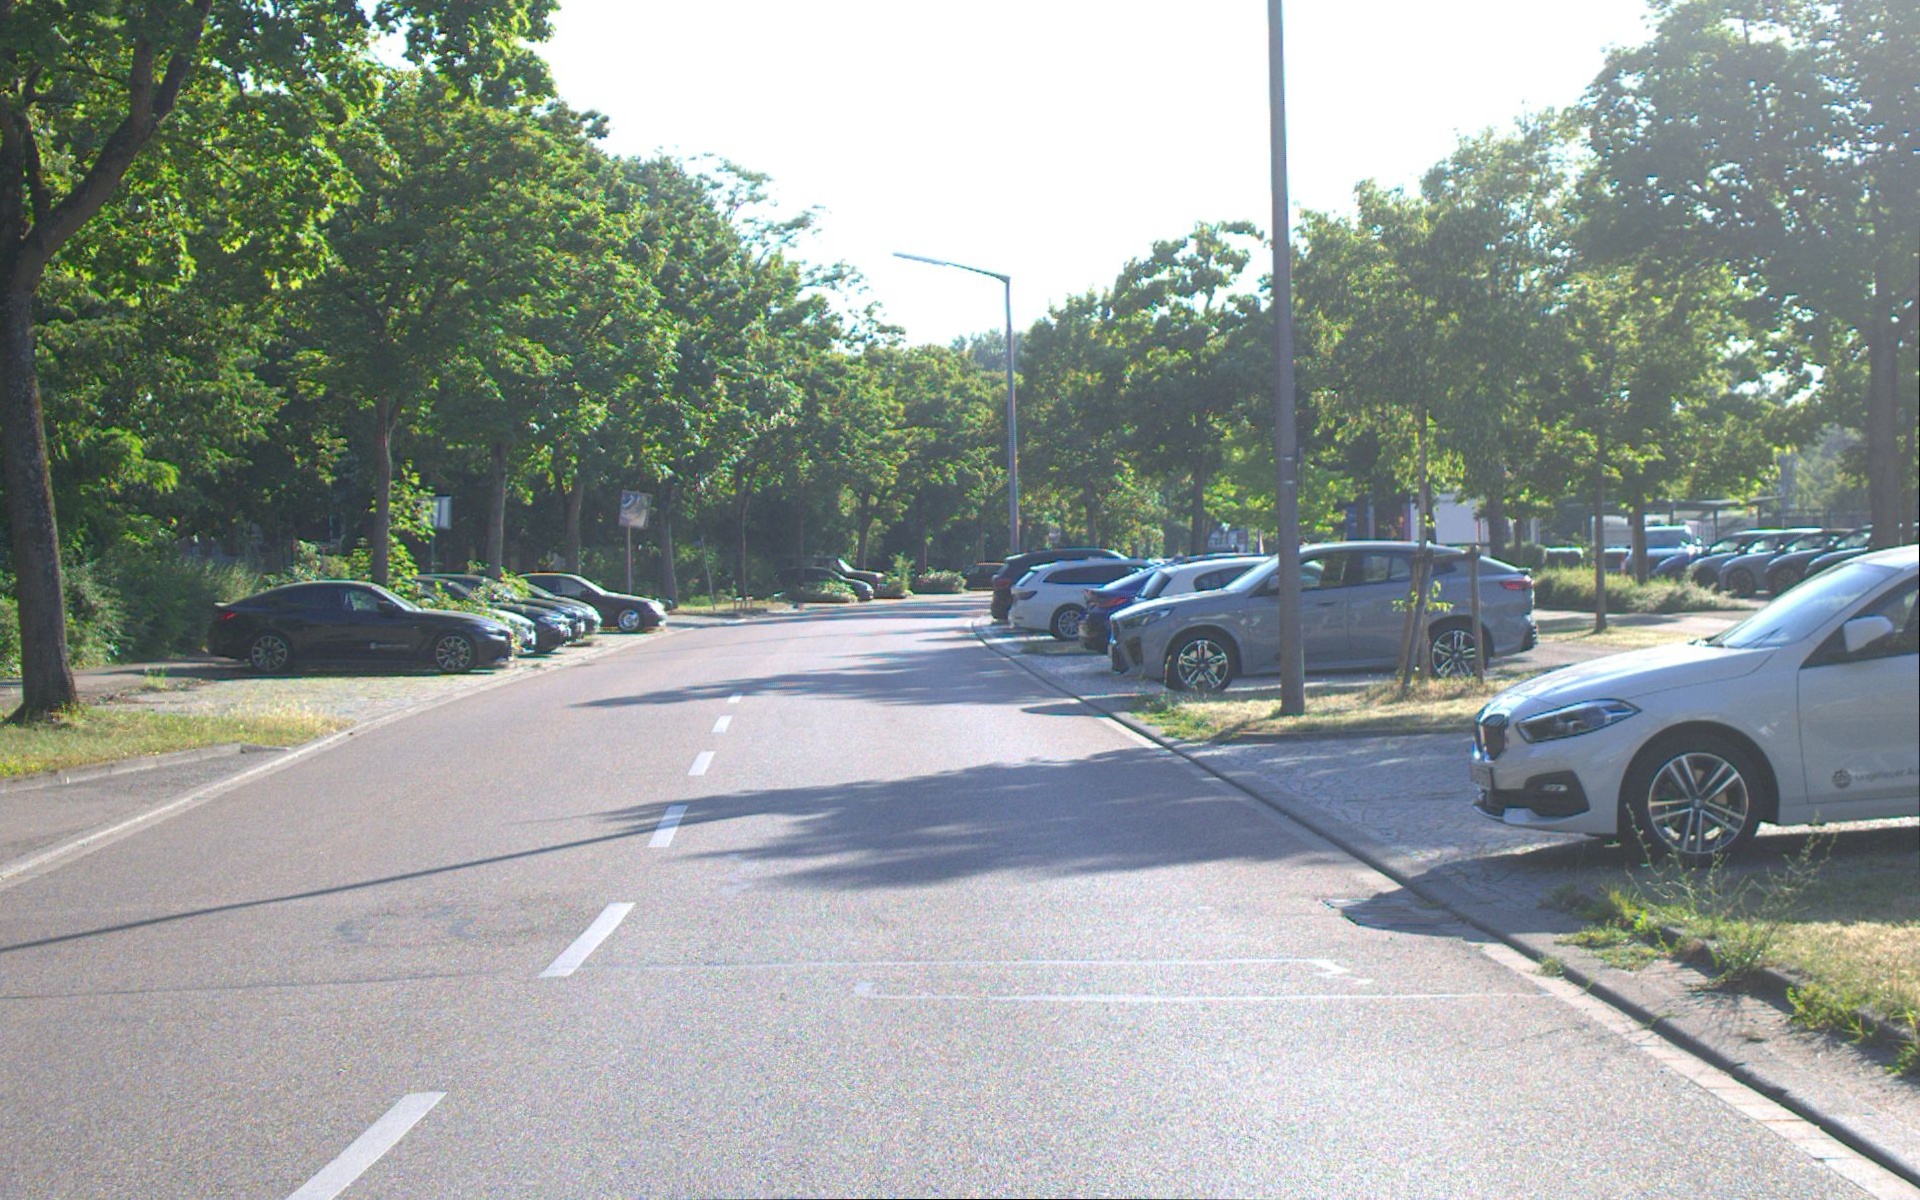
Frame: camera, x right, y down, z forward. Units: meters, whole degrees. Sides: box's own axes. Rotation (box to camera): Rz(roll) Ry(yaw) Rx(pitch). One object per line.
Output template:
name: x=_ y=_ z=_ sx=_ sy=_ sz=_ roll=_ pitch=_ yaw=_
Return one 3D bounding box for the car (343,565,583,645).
car: x=-9.792 y=0.092 z=68.015 sx=4.479 sy=1.525 sz=2.000 roll=0 pitch=1 yaw=-1

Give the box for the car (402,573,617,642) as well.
car: x=-9.875 y=0.150 z=75.628 sx=4.479 sy=1.457 sz=2.000 roll=0 pitch=1 yaw=-1

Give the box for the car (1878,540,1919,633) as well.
car: x=18.333 y=-0.287 z=57.925 sx=5.187 sy=1.566 sz=1.995 roll=-1 pitch=1 yaw=45

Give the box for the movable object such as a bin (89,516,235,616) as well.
movable object such as a bin: x=-22.084 y=-0.910 z=95.059 sx=2.158 sy=2.655 sz=4.803 roll=-2 pitch=1 yaw=-36

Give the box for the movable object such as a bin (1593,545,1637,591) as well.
movable object such as a bin: x=18.540 y=-0.899 z=97.292 sx=1.117 sy=1.263 sz=1.038 roll=-1 pitch=1 yaw=6

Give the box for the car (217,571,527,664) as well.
car: x=-9.280 y=0.268 z=54.572 sx=4.648 sy=1.417 sz=1.917 roll=0 pitch=1 yaw=-3

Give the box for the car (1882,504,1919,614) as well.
car: x=17.018 y=-0.749 z=53.494 sx=4.713 sy=1.684 sz=2.411 roll=-3 pitch=1 yaw=-28

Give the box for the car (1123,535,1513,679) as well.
car: x=4.249 y=0.070 z=41.299 sx=4.376 sy=1.474 sz=2.000 roll=-3 pitch=1 yaw=-1

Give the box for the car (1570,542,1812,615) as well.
car: x=16.004 y=-0.462 z=75.377 sx=4.785 sy=1.459 sz=1.995 roll=-1 pitch=1 yaw=40

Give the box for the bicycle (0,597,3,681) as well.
bicycle: x=-12.340 y=0.511 z=41.860 sx=0.765 sy=1.036 sz=2.217 roll=-2 pitch=1 yaw=-1

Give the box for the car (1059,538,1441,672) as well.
car: x=3.664 y=0.051 z=44.056 sx=4.624 sy=1.451 sz=2.000 roll=-3 pitch=1 yaw=-1

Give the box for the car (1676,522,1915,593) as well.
car: x=18.763 y=-0.945 z=77.344 sx=4.785 sy=1.459 sz=2.042 roll=-1 pitch=1 yaw=40

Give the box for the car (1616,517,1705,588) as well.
car: x=18.932 y=-1.290 z=92.762 sx=2.033 sy=1.821 sz=4.973 roll=-1 pitch=1 yaw=15

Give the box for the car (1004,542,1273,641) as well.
car: x=3.229 y=-0.162 z=62.804 sx=4.694 sy=1.474 sz=2.000 roll=-3 pitch=3 yaw=-1

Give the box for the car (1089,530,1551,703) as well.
car: x=3.817 y=0.160 z=36.995 sx=4.590 sy=1.579 sz=2.000 roll=-3 pitch=1 yaw=-4

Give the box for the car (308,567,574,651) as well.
car: x=-9.839 y=0.159 z=65.491 sx=4.849 sy=1.525 sz=2.000 roll=0 pitch=1 yaw=-4

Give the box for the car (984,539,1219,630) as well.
car: x=2.909 y=-0.330 z=70.399 sx=4.695 sy=1.745 sz=2.191 roll=-1 pitch=1 yaw=4

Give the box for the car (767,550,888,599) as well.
car: x=-5.786 y=-1.129 z=150.458 sx=5.006 sy=2.013 sz=2.174 roll=-1 pitch=1 yaw=6

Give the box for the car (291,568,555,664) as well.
car: x=-9.391 y=0.269 z=60.362 sx=4.286 sy=1.525 sz=2.000 roll=-2 pitch=1 yaw=0

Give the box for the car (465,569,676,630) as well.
car: x=-9.628 y=-0.026 z=85.300 sx=5.034 sy=1.457 sz=2.000 roll=0 pitch=1 yaw=-1

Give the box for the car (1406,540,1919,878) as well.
car: x=4.514 y=0.447 z=17.023 sx=4.198 sy=1.439 sz=2.088 roll=-3 pitch=1 yaw=-3

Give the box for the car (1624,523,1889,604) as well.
car: x=15.857 y=-0.714 z=68.636 sx=4.786 sy=1.459 sz=1.995 roll=-1 pitch=1 yaw=45

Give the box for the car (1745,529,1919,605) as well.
car: x=18.682 y=-0.689 z=70.166 sx=4.785 sy=1.459 sz=1.995 roll=-1 pitch=1 yaw=40
